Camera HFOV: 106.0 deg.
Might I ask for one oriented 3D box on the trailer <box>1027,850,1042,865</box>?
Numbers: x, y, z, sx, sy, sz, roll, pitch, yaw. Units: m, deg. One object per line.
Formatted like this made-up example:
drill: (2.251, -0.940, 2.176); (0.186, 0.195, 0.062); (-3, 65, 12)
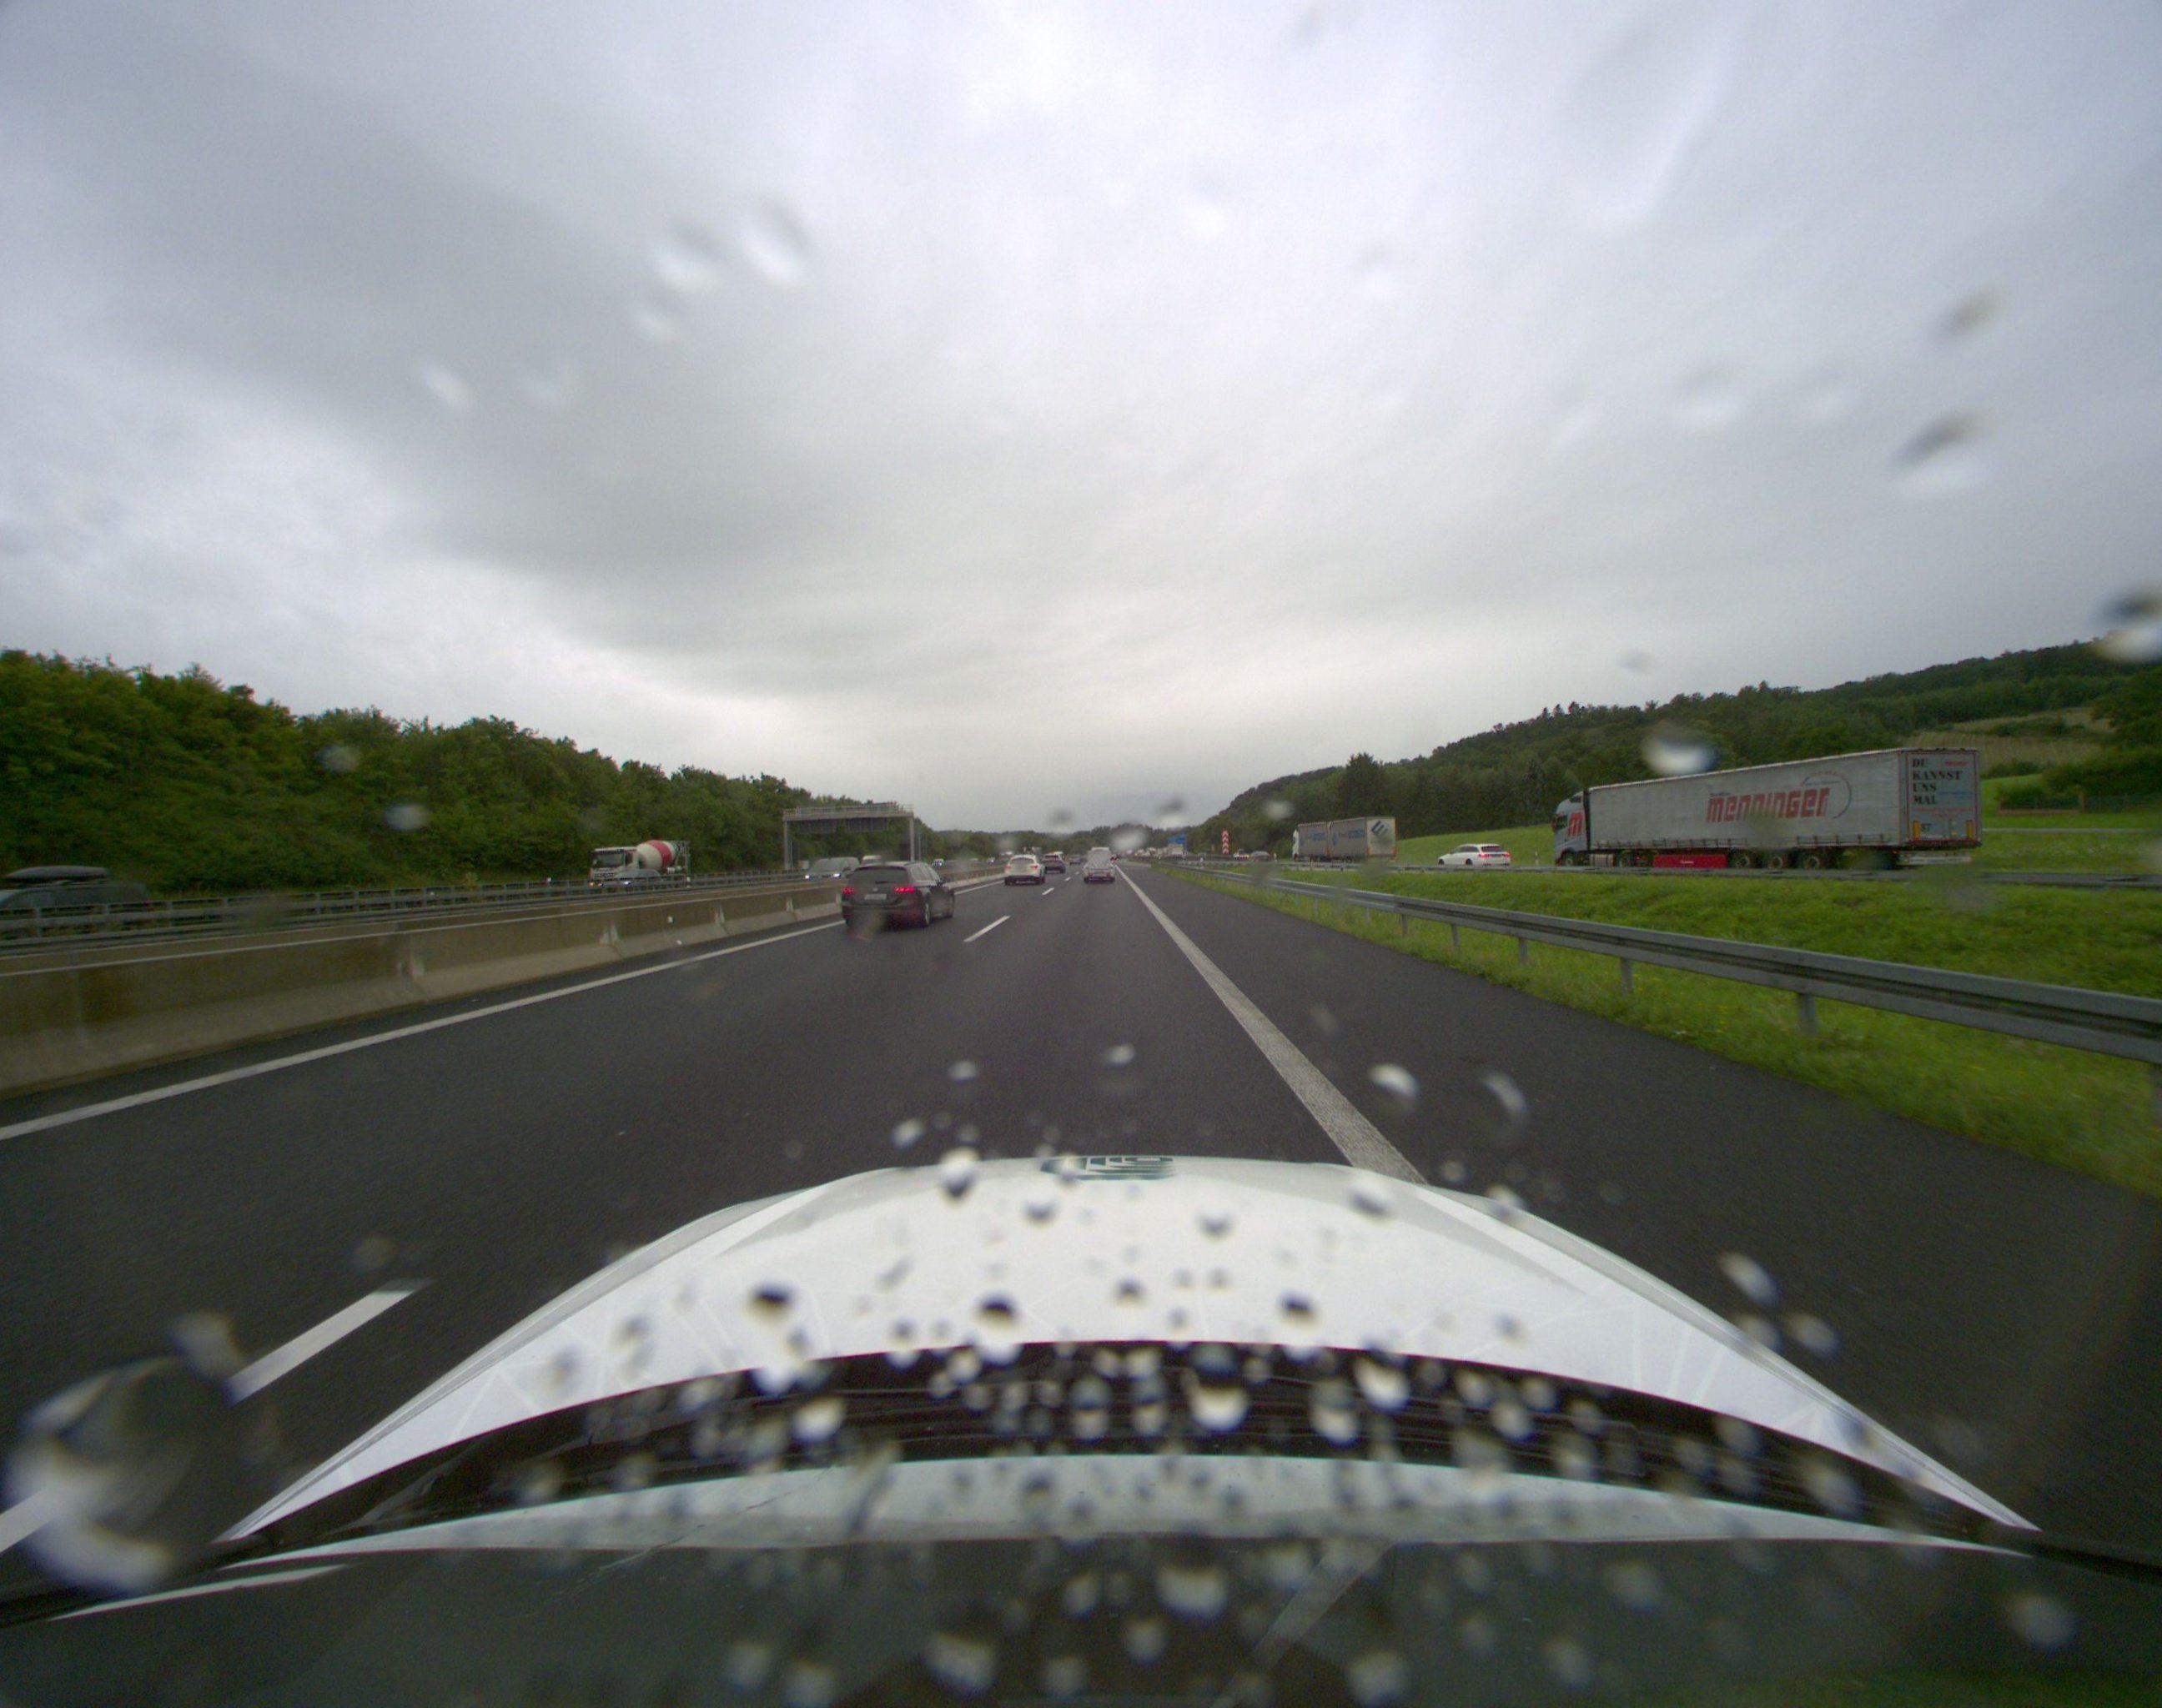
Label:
trailer: (-11.074, 0.770, 195.218); (2.933, 3.516, 8.051); (0, 0, 0)

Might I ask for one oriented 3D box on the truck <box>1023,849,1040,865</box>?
truck: (-11.223, 0.640, 185.871); (2.797, 3.525, 10.646); (0, 0, 2)

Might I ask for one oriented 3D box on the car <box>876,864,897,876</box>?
car: (-25.041, 2.059, 105.145); (1.583, 1.425, 3.920); (-1, 0, 3)

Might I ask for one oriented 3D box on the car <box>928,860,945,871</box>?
car: (-24.564, 1.892, 138.841); (1.987, 1.737, 4.583); (-2, 0, 1)

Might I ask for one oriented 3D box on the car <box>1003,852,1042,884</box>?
car: (-3.199, 0.720, 45.265); (2.044, 1.670, 4.535); (-1, 0, -3)

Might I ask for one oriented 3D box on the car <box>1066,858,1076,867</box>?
car: (-1.992, 1.684, 163.939); (1.812, 1.662, 4.019); (-2, 0, 2)

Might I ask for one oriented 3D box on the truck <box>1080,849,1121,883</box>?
truck: (1.105, 0.639, 47.437); (2.234, 1.839, 6.585); (0, 0, 1)

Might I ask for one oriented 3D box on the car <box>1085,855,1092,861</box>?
car: (1.903, 1.093, 214.935); (1.639, 1.574, 4.002); (0, 0, 2)

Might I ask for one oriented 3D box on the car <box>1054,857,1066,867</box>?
car: (-3.612, 1.362, 139.620); (1.812, 1.662, 4.019); (-2, 0, 2)

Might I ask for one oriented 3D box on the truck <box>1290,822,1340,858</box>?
truck: (23.538, -1.340, 82.105); (2.933, 3.527, 5.917); (0, 0, -5)

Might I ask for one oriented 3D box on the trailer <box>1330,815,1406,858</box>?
trailer: (24.460, -1.396, 69.904); (3.073, 3.527, 8.070); (0, 0, -5)

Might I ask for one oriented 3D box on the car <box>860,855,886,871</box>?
car: (-29.173, 1.241, 114.228); (1.986, 2.213, 5.717); (-2, 0, 1)

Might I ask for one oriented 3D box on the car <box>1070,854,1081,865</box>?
car: (-0.889, 0.923, 136.590); (1.732, 1.794, 4.001); (-1, 0, 1)

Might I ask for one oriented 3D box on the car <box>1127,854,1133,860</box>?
car: (14.676, 0.922, 244.051); (1.639, 1.574, 4.002); (0, 0, 2)

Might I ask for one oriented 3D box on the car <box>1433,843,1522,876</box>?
car: (21.241, 0.314, 43.860); (1.990, 1.616, 5.071); (-2, 0, -4)

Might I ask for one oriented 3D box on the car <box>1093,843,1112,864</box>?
car: (2.856, -0.132, 111.020); (2.324, 2.725, 6.538); (-1, 0, 0)

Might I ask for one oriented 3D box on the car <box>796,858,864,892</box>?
car: (-13.275, 1.085, 43.403); (1.987, 1.650, 5.027); (0, 0, 0)

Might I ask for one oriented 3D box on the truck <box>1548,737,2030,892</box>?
truck: (25.957, -1.124, 32.682); (3.813, 4.540, 16.861); (-1, 0, -4)

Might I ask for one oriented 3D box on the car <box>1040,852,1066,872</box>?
car: (-2.433, 0.659, 72.518); (1.968, 1.703, 4.804); (-1, 0, 1)

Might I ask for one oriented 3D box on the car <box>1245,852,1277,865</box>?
car: (19.176, 0.467, 87.158); (1.982, 1.377, 5.313); (-1, 0, -3)

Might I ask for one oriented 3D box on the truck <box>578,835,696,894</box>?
truck: (-30.492, 0.693, 56.558); (2.676, 3.661, 9.559); (-2, 0, 1)

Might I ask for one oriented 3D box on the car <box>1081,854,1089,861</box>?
car: (0.861, 0.820, 177.761); (1.639, 1.574, 4.002); (0, 0, 2)

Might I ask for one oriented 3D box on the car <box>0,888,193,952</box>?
car: (-27.611, 1.751, 21.988); (1.986, 1.407, 4.679); (-2, 0, 2)

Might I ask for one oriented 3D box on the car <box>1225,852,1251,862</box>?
car: (21.186, 0.418, 110.077); (1.984, 1.377, 5.068); (-2, 0, -6)

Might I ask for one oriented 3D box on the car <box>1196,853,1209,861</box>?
car: (20.902, 0.520, 140.264); (1.691, 1.288, 3.536); (0, -1, 1)

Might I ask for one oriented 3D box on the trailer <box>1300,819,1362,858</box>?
trailer: (23.844, -1.353, 78.127); (2.932, 3.527, 8.407); (0, 0, -4)

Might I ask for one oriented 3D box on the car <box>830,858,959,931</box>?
car: (-4.192, 0.854, 19.111); (1.781, 1.459, 4.803); (-1, 0, 1)

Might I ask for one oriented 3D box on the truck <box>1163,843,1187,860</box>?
truck: (20.139, -0.545, 175.057); (3.815, 3.659, 8.265); (0, 0, -2)
